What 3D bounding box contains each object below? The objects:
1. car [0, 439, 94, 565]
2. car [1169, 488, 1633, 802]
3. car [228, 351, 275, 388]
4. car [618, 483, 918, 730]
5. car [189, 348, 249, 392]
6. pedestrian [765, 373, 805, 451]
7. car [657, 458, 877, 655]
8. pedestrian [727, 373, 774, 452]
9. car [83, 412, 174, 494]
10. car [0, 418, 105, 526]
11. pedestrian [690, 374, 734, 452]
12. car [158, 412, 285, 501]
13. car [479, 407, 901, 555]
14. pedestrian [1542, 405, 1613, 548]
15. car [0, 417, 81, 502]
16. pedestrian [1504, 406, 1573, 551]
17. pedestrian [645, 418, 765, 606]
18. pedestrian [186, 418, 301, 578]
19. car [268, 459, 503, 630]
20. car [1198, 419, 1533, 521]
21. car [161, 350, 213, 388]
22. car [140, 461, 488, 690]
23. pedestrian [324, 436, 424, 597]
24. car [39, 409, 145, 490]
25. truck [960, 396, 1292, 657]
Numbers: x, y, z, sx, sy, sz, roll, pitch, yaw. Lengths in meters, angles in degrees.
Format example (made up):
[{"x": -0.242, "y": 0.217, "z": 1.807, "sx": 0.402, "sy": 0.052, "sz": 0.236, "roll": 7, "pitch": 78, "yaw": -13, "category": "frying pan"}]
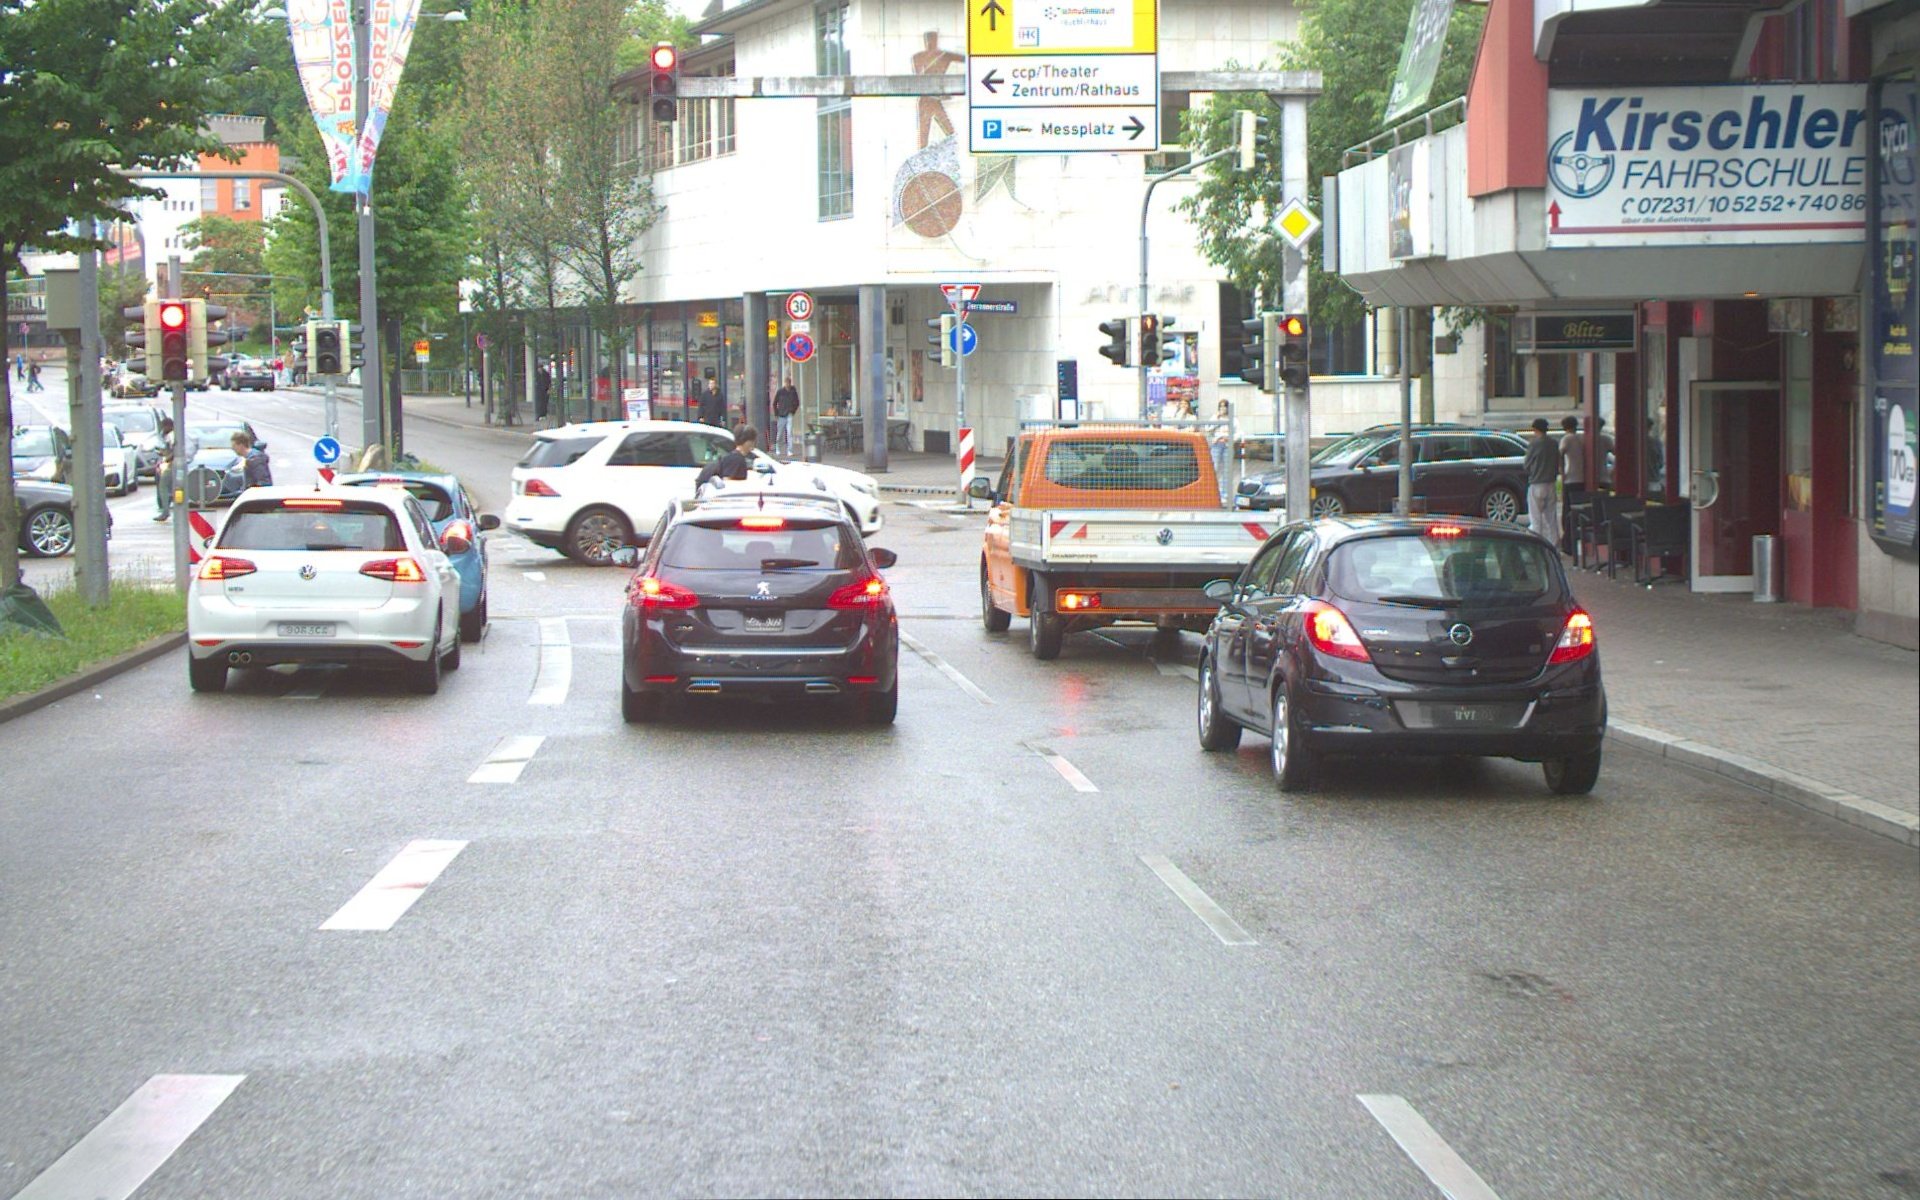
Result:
[{"x": -13.967, "y": -1.321, "z": 45.477, "sx": 4.681, "sy": 1.638, "sz": 1.787, "roll": 0, "pitch": 2, "yaw": -21, "category": "car"}, {"x": 2.353, "y": 0.160, "z": 19.386, "sx": 1.950, "sy": 1.568, "sz": 4.001, "roll": 0, "pitch": 2, "yaw": -2, "category": "car"}, {"x": -32.992, "y": -10.699, "z": 159.946, "sx": 1.831, "sy": 1.583, "sz": 3.875, "roll": -1, "pitch": 2, "yaw": -16, "category": "car"}, {"x": -1.379, "y": -0.025, "z": 23.205, "sx": 1.811, "sy": 1.436, "sz": 4.001, "roll": 1, "pitch": 3, "yaw": -6, "category": "car"}, {"x": -35.971, "y": -11.145, "z": 166.805, "sx": 1.993, "sy": 2.006, "sz": 4.001, "roll": -1, "pitch": 2, "yaw": -25, "category": "car"}, {"x": -4.127, "y": -4.426, "z": 81.055, "sx": 0.702, "sy": 1.796, "sz": 0.939, "roll": -2, "pitch": 2, "yaw": -16, "category": "pedestrian"}, {"x": -1.707, "y": -0.435, "z": 29.580, "sx": 1.760, "sy": 1.537, "sz": 4.001, "roll": 0, "pitch": 3, "yaw": -5, "category": "car"}, {"x": -4.916, "y": -4.399, "z": 80.635, "sx": 0.846, "sy": 1.796, "sz": 1.056, "roll": -2, "pitch": 2, "yaw": -16, "category": "pedestrian"}, {"x": -18.067, "y": -3.184, "z": 74.798, "sx": 1.705, "sy": 1.714, "sz": 4.001, "roll": -1, "pitch": 2, "yaw": -11, "category": "car"}, {"x": -14.497, "y": -1.841, "z": 49.552, "sx": 3.986, "sy": 1.522, "sz": 1.848, "roll": 0, "pitch": 2, "yaw": -5, "category": "car"}, {"x": -5.819, "y": -4.391, "z": 80.766, "sx": 0.798, "sy": 1.796, "sz": 0.918, "roll": -2, "pitch": 2, "yaw": -16, "category": "pedestrian"}, {"x": -13.180, "y": -2.559, "z": 61.554, "sx": 1.819, "sy": 1.543, "sz": 4.001, "roll": -1, "pitch": 2, "yaw": -6, "category": "car"}, {"x": -3.457, "y": -1.501, "z": 43.742, "sx": 5.070, "sy": 1.753, "sz": 2.001, "roll": 1, "pitch": 1, "yaw": -14, "category": "car"}, {"x": 7.429, "y": -1.481, "z": 41.393, "sx": 0.575, "sy": 1.694, "sz": 0.651, "roll": -2, "pitch": 2, "yaw": -16, "category": "pedestrian"}, {"x": -16.525, "y": -2.458, "z": 60.489, "sx": 1.706, "sy": 1.446, "sz": 3.863, "roll": -1, "pitch": 2, "yaw": -9, "category": "car"}, {"x": 6.860, "y": -1.441, "z": 40.797, "sx": 0.575, "sy": 1.694, "sz": 0.651, "roll": -2, "pitch": 2, "yaw": -12, "category": "pedestrian"}, {"x": -2.607, "y": -0.909, "z": 35.247, "sx": 1.063, "sy": 1.875, "sz": 0.838, "roll": -1, "pitch": 2, "yaw": 5, "category": "pedestrian"}, {"x": -7.922, "y": -1.131, "z": 38.048, "sx": 1.010, "sy": 1.716, "sz": 0.838, "roll": -1, "pitch": 2, "yaw": 3, "category": "pedestrian"}, {"x": -5.175, "y": -0.558, "z": 31.395, "sx": 1.794, "sy": 1.463, "sz": 4.001, "roll": 0, "pitch": 2, "yaw": -5, "category": "car"}, {"x": 5.884, "y": -1.888, "z": 50.033, "sx": 4.396, "sy": 1.432, "sz": 2.001, "roll": -1, "pitch": 2, "yaw": -16, "category": "car"}, {"x": -35.587, "y": -10.627, "z": 158.224, "sx": 1.993, "sy": 1.590, "sz": 4.002, "roll": -1, "pitch": 2, "yaw": -17, "category": "car"}, {"x": -4.710, "y": -0.242, "z": 25.618, "sx": 1.950, "sy": 1.568, "sz": 4.001, "roll": 0, "pitch": 2, "yaw": -2, "category": "car"}, {"x": -6.364, "y": -0.912, "z": 37.357, "sx": 0.835, "sy": 1.716, "sz": 0.818, "roll": -1, "pitch": 2, "yaw": 5, "category": "pedestrian"}, {"x": -17.156, "y": -2.965, "z": 68.112, "sx": 1.777, "sy": 1.543, "sz": 4.001, "roll": -1, "pitch": 2, "yaw": -11, "category": "car"}, {"x": 1.337, "y": -0.690, "z": 30.357, "sx": 2.183, "sy": 2.075, "sz": 5.605, "roll": 0, "pitch": 2, "yaw": -5, "category": "truck"}]
